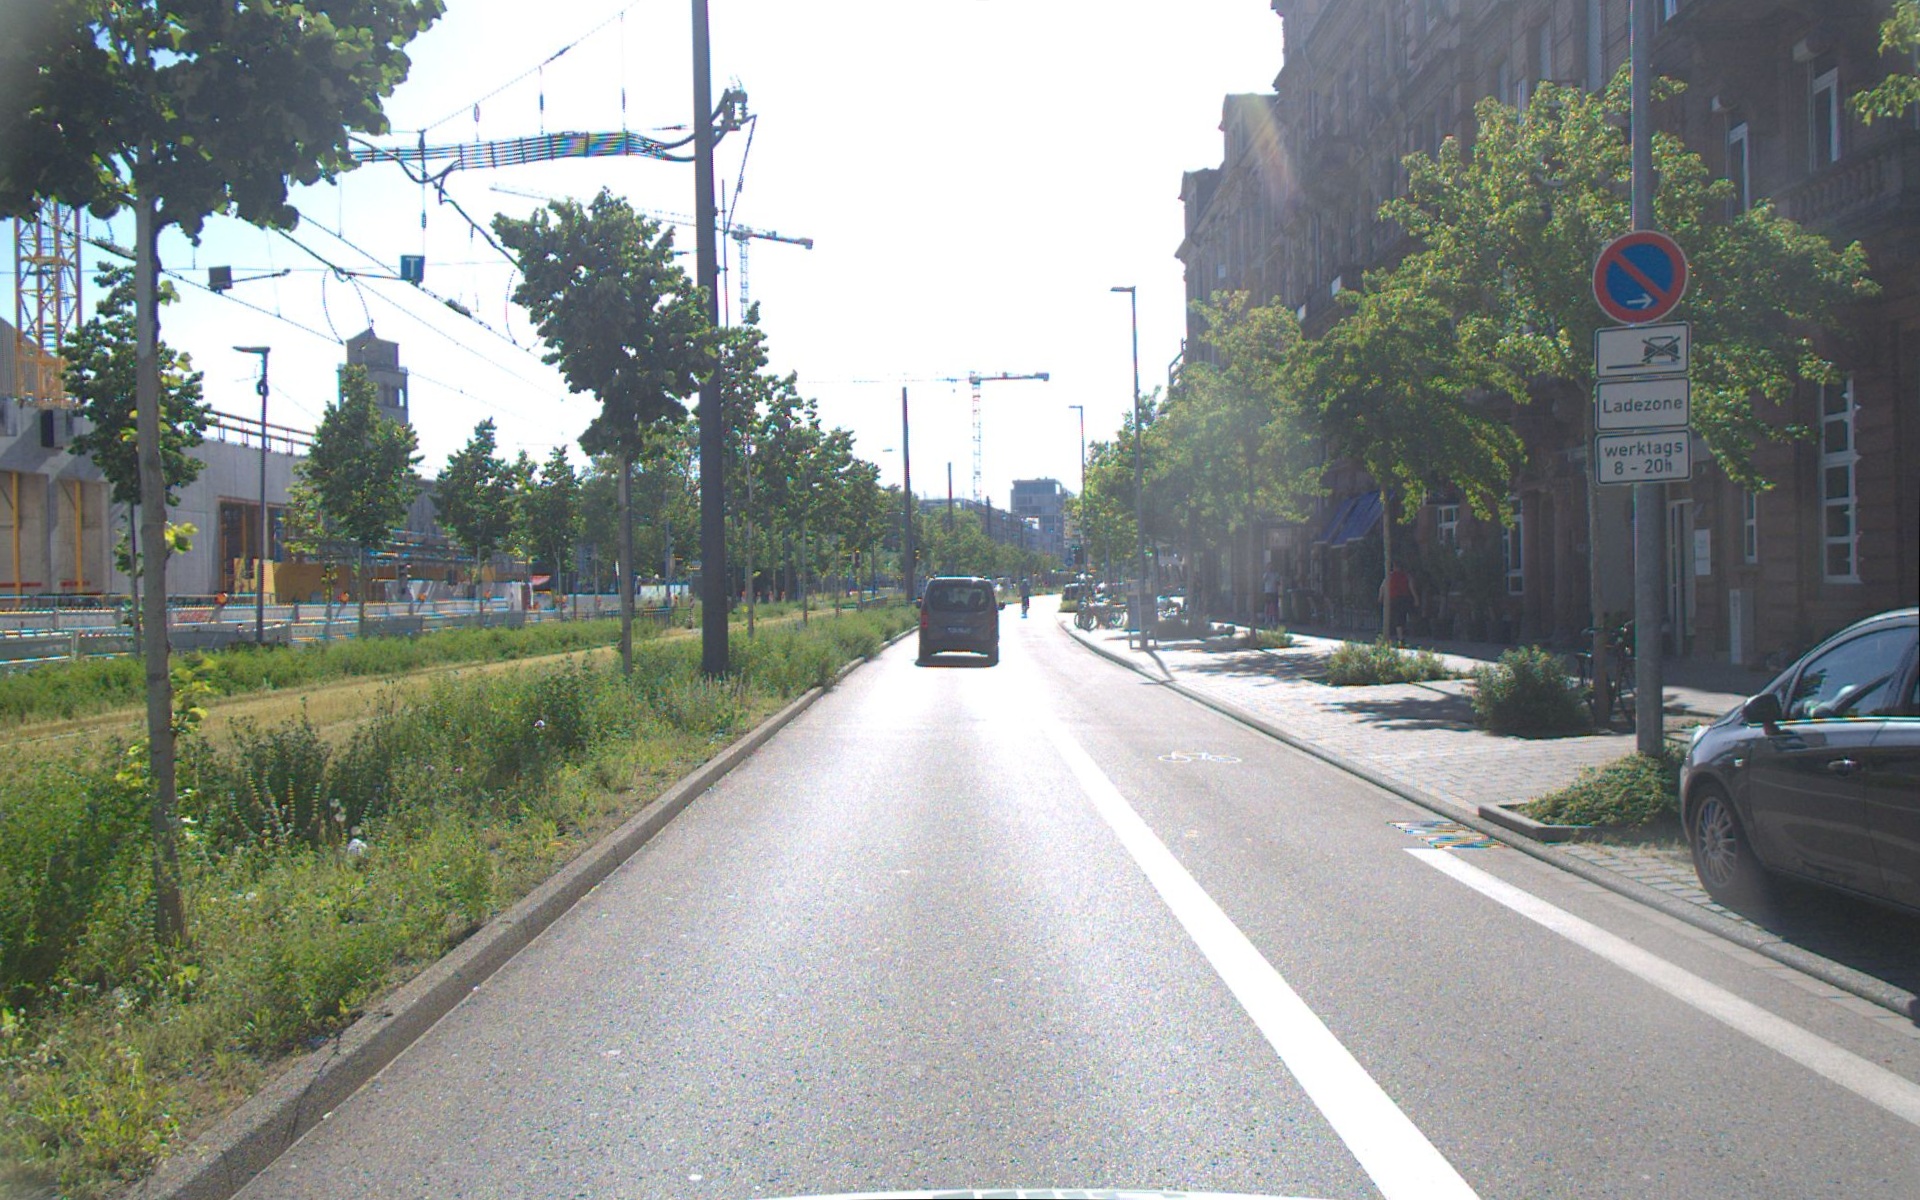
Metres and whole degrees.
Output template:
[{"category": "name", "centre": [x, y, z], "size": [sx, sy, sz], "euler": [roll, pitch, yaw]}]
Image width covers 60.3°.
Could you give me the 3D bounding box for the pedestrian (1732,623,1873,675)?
[{"category": "pedestrian", "centre": [10.697, 0.611, 21.085], "size": [0.757, 0.562, 2.007], "euler": [-2, 1, -1]}]

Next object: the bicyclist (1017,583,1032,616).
[{"category": "bicyclist", "centre": [3.150, -0.039, 81.044], "size": [0.669, 1.612, 0.839], "euler": [-1, 0, -1]}]

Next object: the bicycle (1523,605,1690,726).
[{"category": "bicycle", "centre": [6.604, 0.642, 17.034], "size": [0.637, 1.139, 2.169], "euler": [-2, 0, -6]}]

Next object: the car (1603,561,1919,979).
[{"category": "car", "centre": [4.590, 0.620, 7.140], "size": [1.846, 1.597, 4.219], "euler": [-3, 0, -1]}]

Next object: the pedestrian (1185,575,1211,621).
[{"category": "pedestrian", "centre": [9.272, -0.077, 64.344], "size": [0.827, 1.772, 0.886], "euler": [-2, -1, 0]}]

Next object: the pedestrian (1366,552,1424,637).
[{"category": "pedestrian", "centre": [9.049, -0.110, 34.417], "size": [0.976, 1.762, 0.866], "euler": [0, -1, -1]}]

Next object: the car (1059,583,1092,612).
[{"category": "car", "centre": [6.993, -0.137, 99.974], "size": [1.946, 1.666, 4.191], "euler": [0, 0, 5]}]

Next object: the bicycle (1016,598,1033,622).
[{"category": "bicycle", "centre": [3.160, 0.481, 81.084], "size": [0.687, 1.110, 2.277], "euler": [-1, 0, -1]}]

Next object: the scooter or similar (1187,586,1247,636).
[{"category": "scooter or similar", "centre": [6.866, 0.293, 44.203], "size": [1.444, 1.237, 0.601], "euler": [-3, 1, -4]}]

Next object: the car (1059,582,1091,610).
[{"category": "car", "centre": [7.389, -0.216, 106.295], "size": [1.979, 1.752, 4.121], "euler": [0, 0, 5]}]

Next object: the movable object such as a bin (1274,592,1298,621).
[{"category": "movable object such as a bin", "centre": [10.414, 0.202, 52.905], "size": [0.592, 0.932, 0.650], "euler": [-1, 0, -5]}]

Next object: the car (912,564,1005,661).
[{"category": "car", "centre": [-0.091, 0.283, 37.125], "size": [1.953, 2.049, 3.998], "euler": [0, 0, -2]}]

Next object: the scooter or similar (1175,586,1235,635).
[{"category": "scooter or similar", "centre": [6.650, 0.274, 44.962], "size": [1.447, 1.237, 0.600], "euler": [-3, 1, -11]}]

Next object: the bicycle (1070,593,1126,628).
[{"category": "bicycle", "centre": [5.080, 0.378, 60.829], "size": [1.879, 1.140, 0.664], "euler": [-4, 0, -7]}]

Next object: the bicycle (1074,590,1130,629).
[{"category": "bicycle", "centre": [4.957, 0.340, 57.776], "size": [1.843, 1.255, 0.499], "euler": [-4, 0, -6]}]

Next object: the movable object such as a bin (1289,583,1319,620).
[{"category": "movable object such as a bin", "centre": [10.484, 0.043, 50.377], "size": [0.711, 1.117, 0.747], "euler": [0, 0, -5]}]

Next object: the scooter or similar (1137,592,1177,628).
[{"category": "scooter or similar", "centre": [6.541, 0.325, 54.942], "size": [1.194, 1.125, 0.783], "euler": [-2, 1, 2]}]

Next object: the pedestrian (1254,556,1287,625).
[{"category": "pedestrian", "centre": [9.486, -0.277, 50.529], "size": [0.801, 2.049, 1.046], "euler": [0, -2, -1]}]

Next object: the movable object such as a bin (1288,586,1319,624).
[{"category": "movable object such as a bin", "centre": [10.307, 0.143, 49.608], "size": [0.711, 1.117, 0.747], "euler": [-1, 0, -5]}]

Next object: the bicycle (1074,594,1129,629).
[{"category": "bicycle", "centre": [5.076, 0.413, 59.312], "size": [1.790, 1.097, 0.664], "euler": [-4, 0, -7]}]
